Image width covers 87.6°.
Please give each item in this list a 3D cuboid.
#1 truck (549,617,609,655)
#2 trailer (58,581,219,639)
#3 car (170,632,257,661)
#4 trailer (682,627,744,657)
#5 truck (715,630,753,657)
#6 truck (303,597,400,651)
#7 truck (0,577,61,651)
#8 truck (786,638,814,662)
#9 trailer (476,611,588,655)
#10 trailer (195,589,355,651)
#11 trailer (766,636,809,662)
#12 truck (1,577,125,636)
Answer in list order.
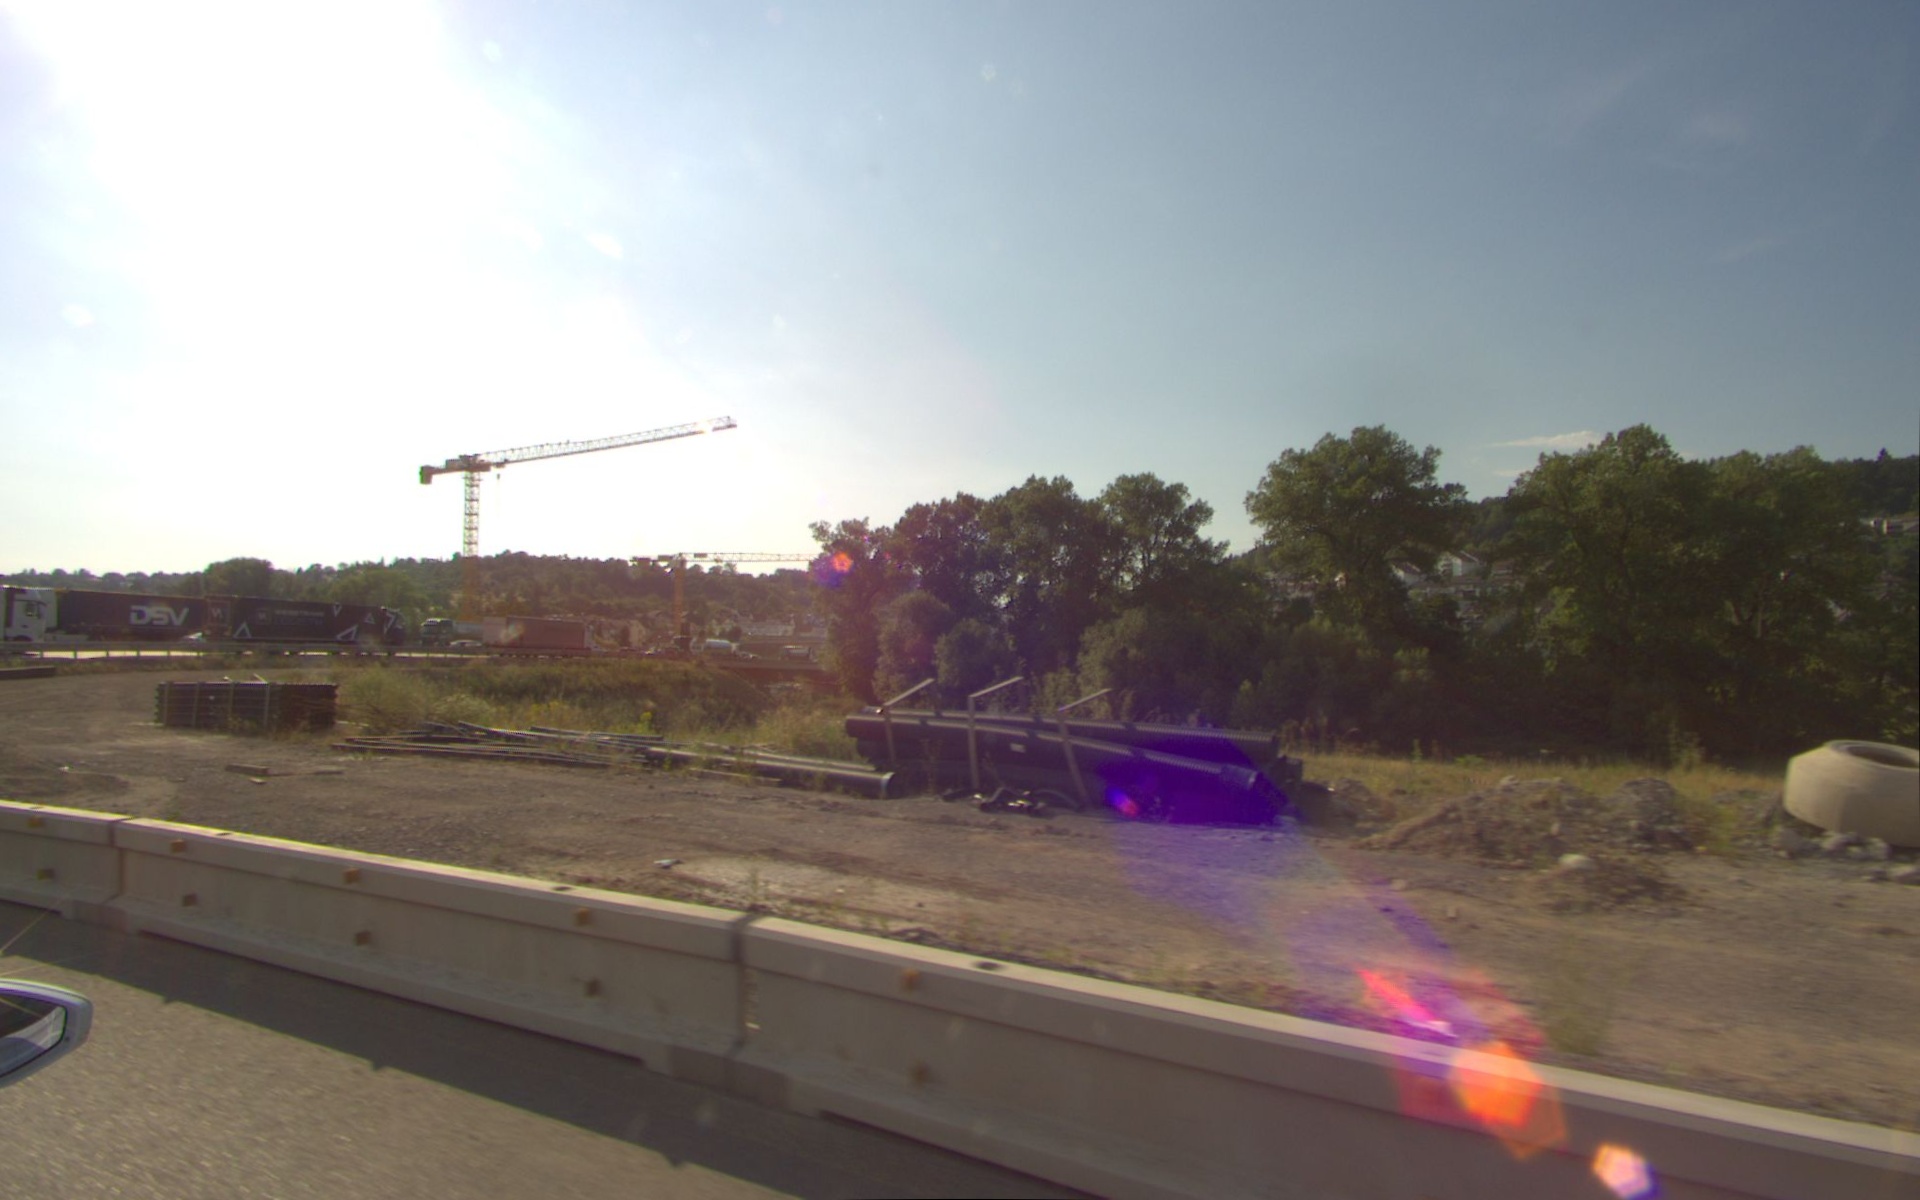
[{"bbox_3d":[-43.564,4.194,114.658,3.290,4.045,6.628,1,-3,10],"label":"truck"},{"bbox_3d":[-61.204,0.887,75.032,2.959,3.797,9.574,0,-4,11],"label":"trailer"},{"bbox_3d":[-54.966,3.451,73.893,1.996,2.005,4.981,3,-3,11],"label":"car"},{"bbox_3d":[-37.054,6.469,151.306,3.331,4.045,14.753,1,-3,10],"label":"trailer"},{"bbox_3d":[-35.758,6.942,158.606,3.336,4.045,6.628,1,-3,10],"label":"truck"},{"bbox_3d":[-49.611,2.061,81.870,2.839,4.045,6.627,1,-3,11],"label":"truck"},{"bbox_3d":[-54.627,0.696,55.531,2.803,4.045,6.628,1,-3,10],"label":"truck"},{"bbox_3d":[-30.296,9.522,190.143,3.049,4.338,6.628,1,-3,10],"label":"truck"},{"bbox_3d":[-45.058,3.645,106.382,3.331,4.045,14.753,1,-3,10],"label":"trailer"},{"bbox_3d":[-50.958,1.631,75.088,2.912,4.141,10.798,0,-4,11],"label":"trailer"},{"bbox_3d":[-31.503,9.090,183.510,3.054,4.366,14.260,1,-3,10],"label":"trailer"},{"bbox_3d":[-62.264,0.549,69.654,2.949,3.772,5.691,0,-3,11],"label":"truck"}]
